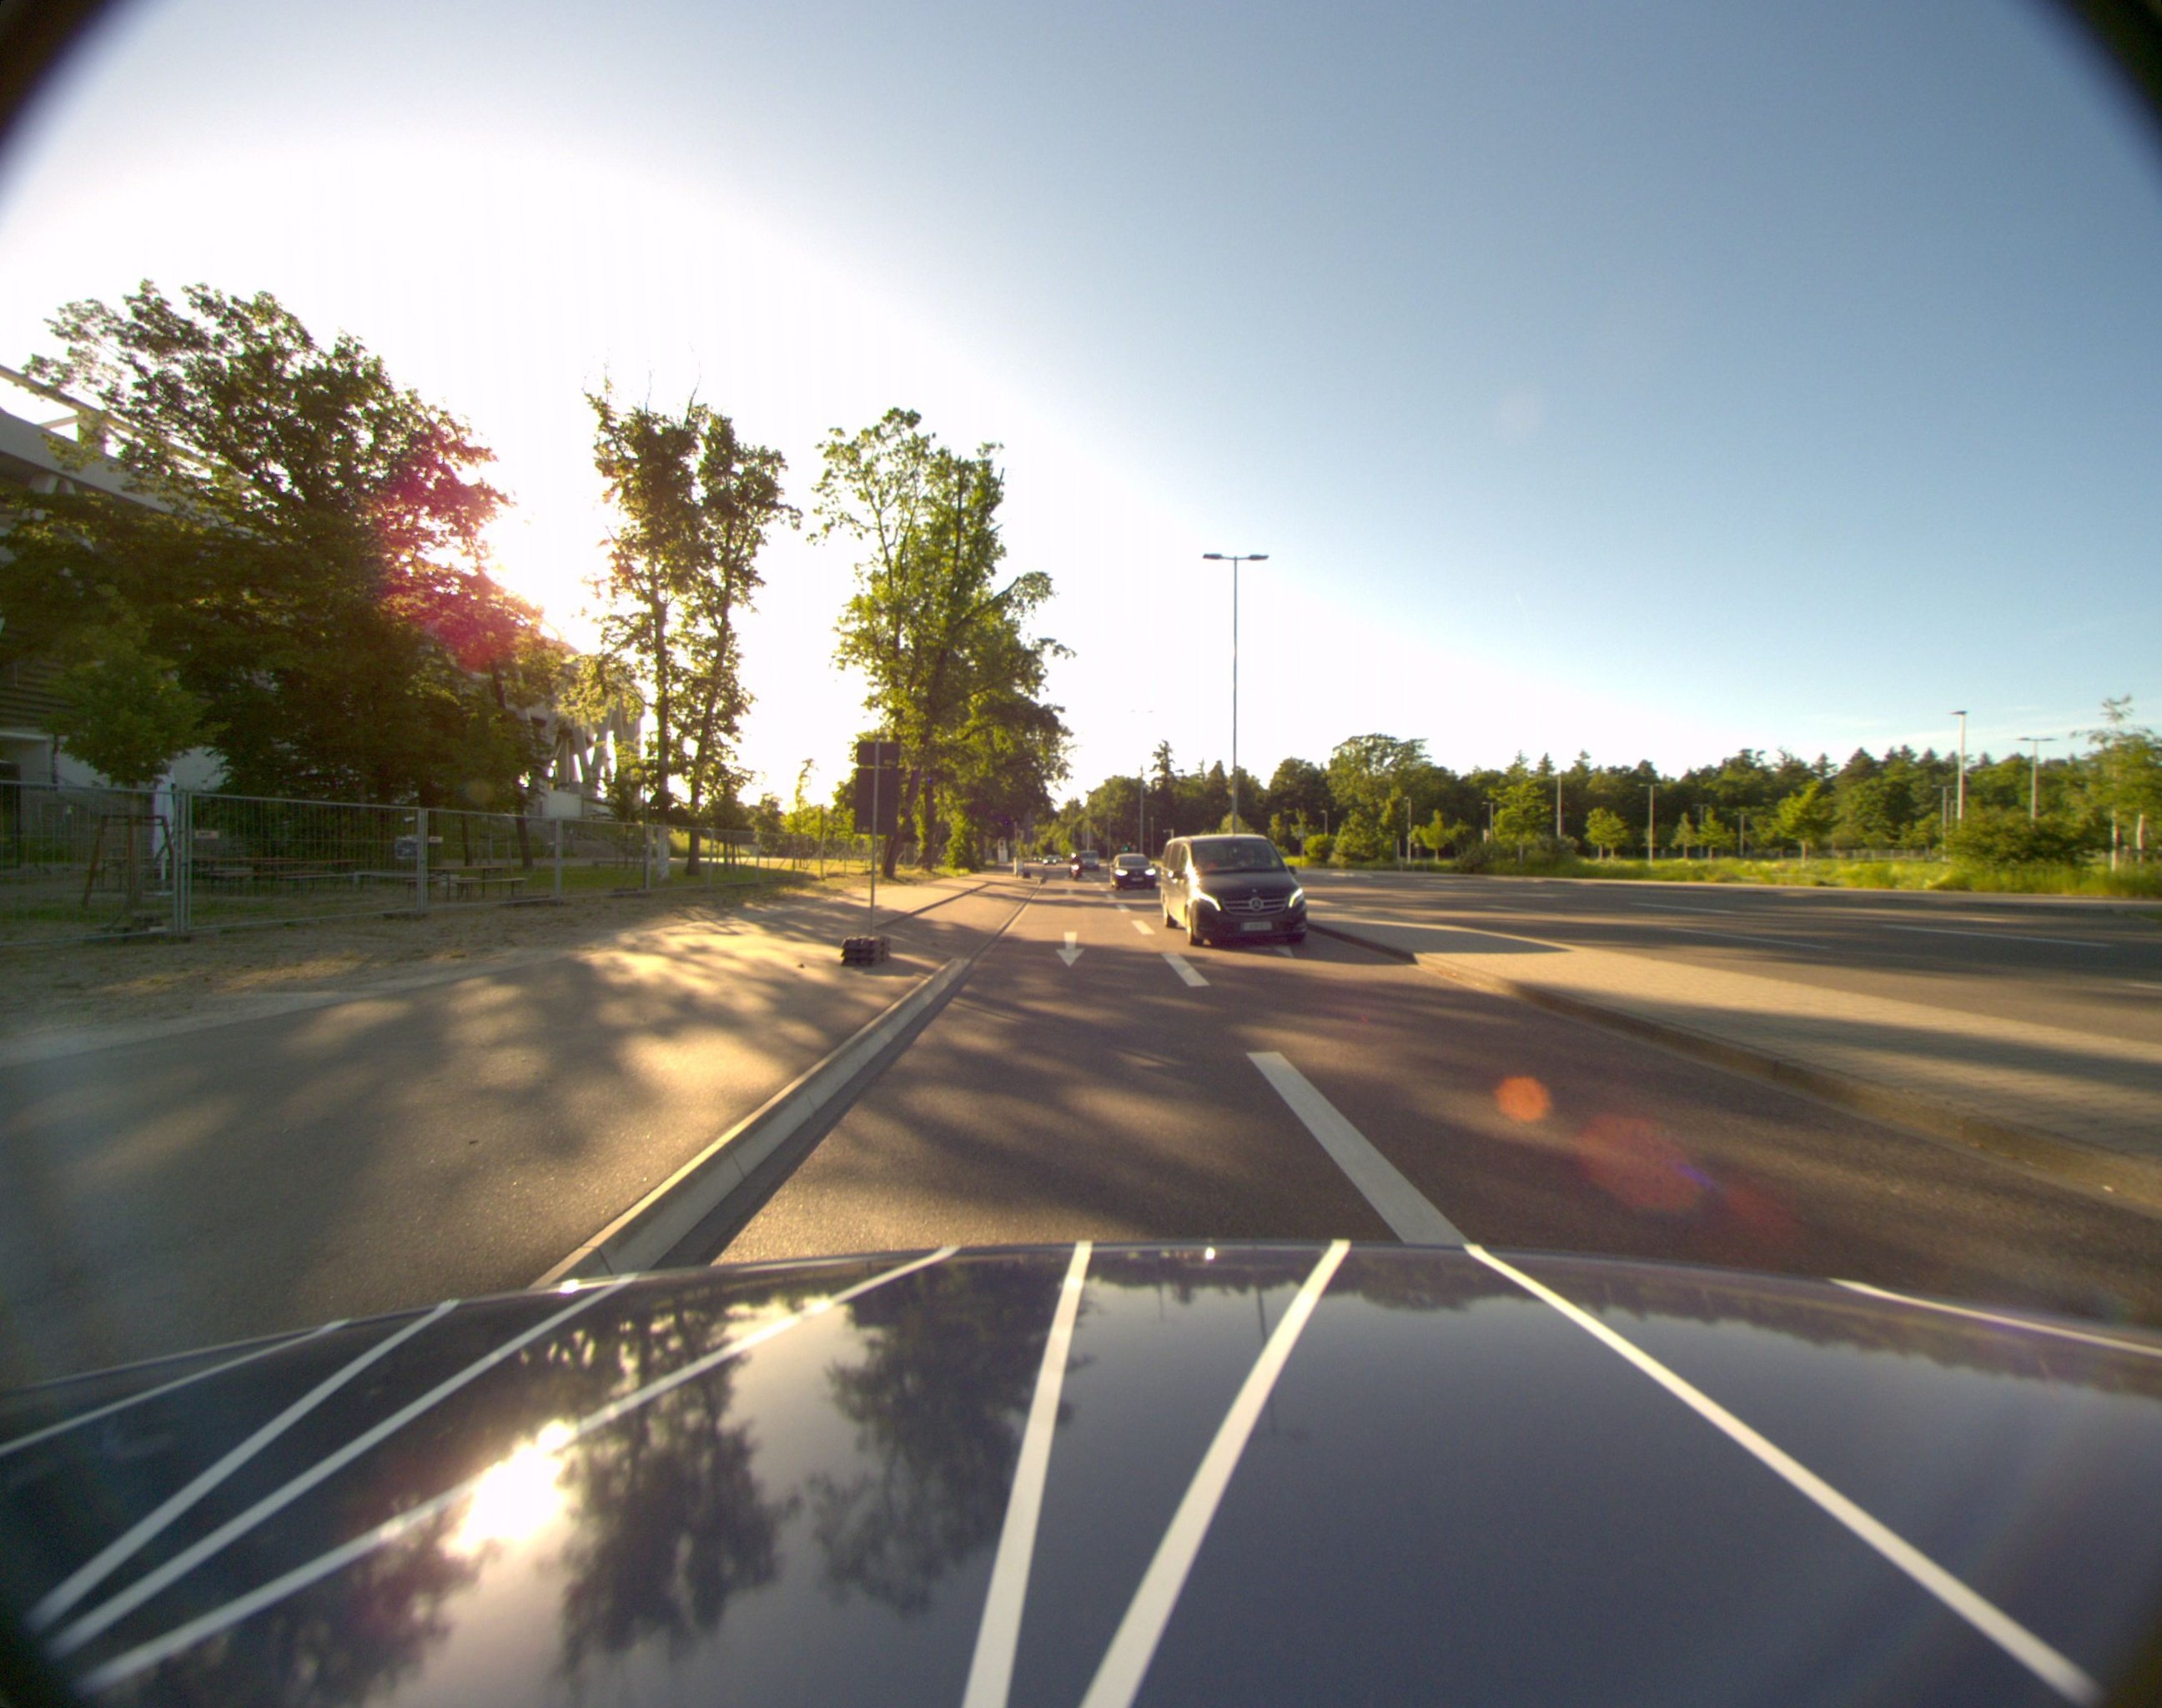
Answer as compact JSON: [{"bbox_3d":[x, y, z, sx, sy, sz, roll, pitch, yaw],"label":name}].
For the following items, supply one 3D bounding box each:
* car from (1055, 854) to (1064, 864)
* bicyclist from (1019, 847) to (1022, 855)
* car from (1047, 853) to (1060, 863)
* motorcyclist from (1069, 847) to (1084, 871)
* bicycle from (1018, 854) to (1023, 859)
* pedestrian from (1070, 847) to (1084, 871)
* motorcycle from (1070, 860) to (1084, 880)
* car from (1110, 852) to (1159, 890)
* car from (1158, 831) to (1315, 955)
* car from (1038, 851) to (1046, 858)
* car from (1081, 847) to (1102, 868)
[{"bbox_3d":[-4.279,0.918,151.080,1.675,1.827,3.982,-2,1,1],"label":"car"},{"bbox_3d":[-9.848,-0.498,123.842,0.451,1.412,0.575,0,1,0],"label":"bicyclist"},{"bbox_3d":[-4.388,0.650,122.713,1.883,1.629,5.048,-2,0,0],"label":"car"},{"bbox_3d":[-0.246,0.299,44.850,0.822,1.367,0.476,-2,1,1],"label":"motorcyclist"},{"bbox_3d":[-9.859,0.457,123.853,0.481,0.854,1.910,0,0,1],"label":"bicycle"},{"bbox_3d":[-0.244,0.281,45.373,0.739,1.387,0.500,-2,1,1],"label":"pedestrian"},{"bbox_3d":[-0.208,0.921,44.958,0.717,1.058,2.721,-2,0,1],"label":"motorcycle"},{"bbox_3d":[2.359,0.739,34.591,1.883,1.528,3.999,-2,1,0],"label":"car"},{"bbox_3d":[2.644,0.549,14.137,1.912,1.845,4.872,-2,1,1],"label":"car"},{"bbox_3d":[-10.422,0.198,202.502,1.774,1.849,3.999,-2,1,1],"label":"car"},{"bbox_3d":[0.967,0.378,74.925,1.883,1.951,5.048,-2,0,0],"label":"car"}]
